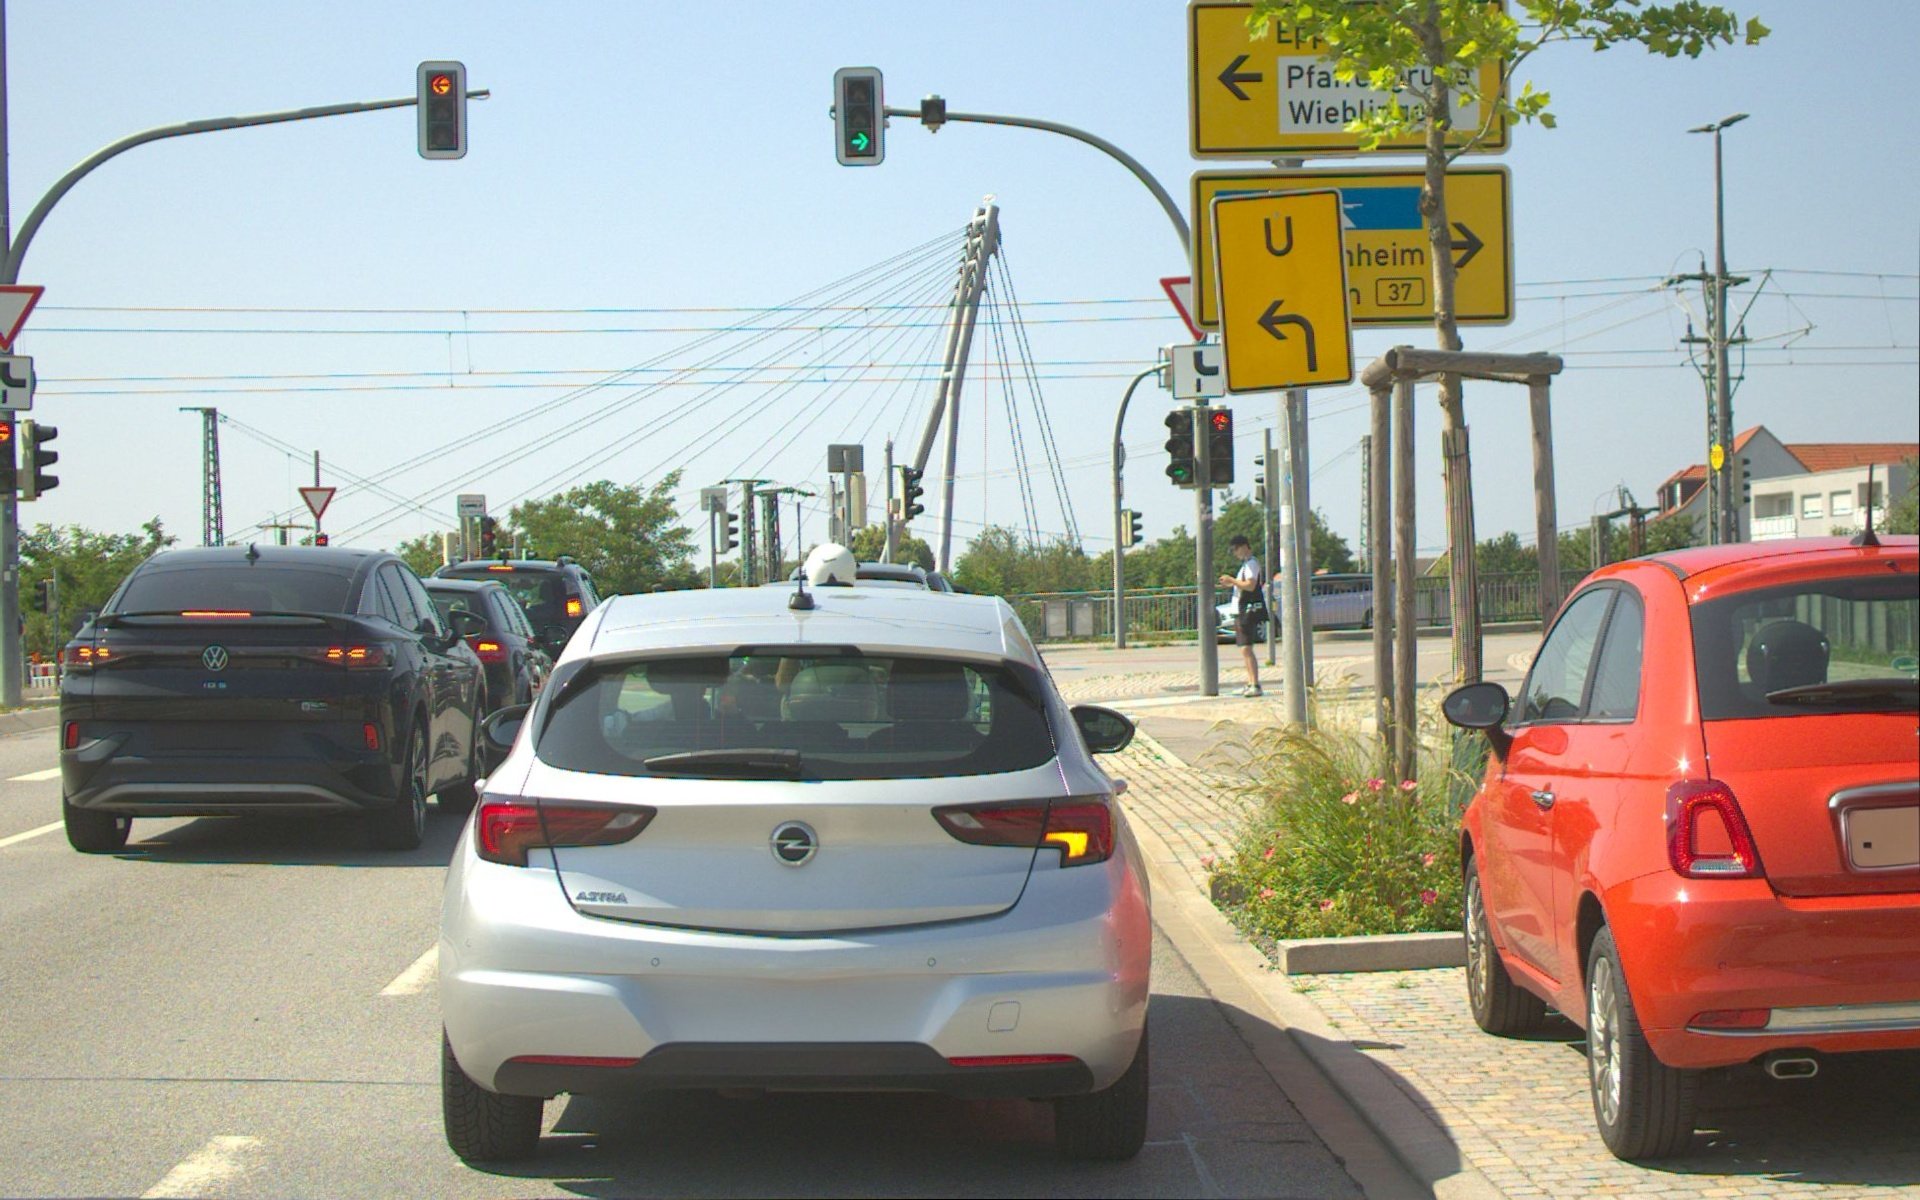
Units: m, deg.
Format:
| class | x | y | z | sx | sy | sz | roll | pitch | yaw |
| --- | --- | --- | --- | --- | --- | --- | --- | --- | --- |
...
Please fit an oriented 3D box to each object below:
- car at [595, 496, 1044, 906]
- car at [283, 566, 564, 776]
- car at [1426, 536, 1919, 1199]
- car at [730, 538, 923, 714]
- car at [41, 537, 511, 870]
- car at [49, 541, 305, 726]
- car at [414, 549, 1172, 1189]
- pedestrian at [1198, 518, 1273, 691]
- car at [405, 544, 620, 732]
| class | x | y | z | sx | sy | sz | roll | pitch | yaw |
| --- | --- | --- | --- | --- | --- | --- | --- | --- | --- |
| car | -0.655 | 0.411 | 17.610 | 1.993 | 1.814 | 4.402 | 1 | 1 | -1 |
| car | -3.917 | 0.485 | 25.611 | 1.575 | 1.429 | 3.786 | 1 | 0 | -1 |
| car | 2.347 | 0.594 | 9.617 | 1.610 | 1.491 | 3.352 | -2 | 1 | 1 |
| car | -1.237 | 0.201 | 33.272 | 1.724 | 1.558 | 4.000 | 1 | 1 | 0 |
| car | -3.697 | 0.512 | 19.331 | 1.801 | 1.636 | 4.366 | 1 | 0 | -1 |
| car | -6.965 | 0.278 | 30.901 | 1.597 | 1.542 | 3.763 | 1 | 0 | -3 |
| car | -0.490 | 0.624 | 9.989 | 1.742 | 1.473 | 4.000 | 1 | 0 | -3 |
| pedestrian | 2.976 | 0.044 | 37.172 | 0.647 | 1.830 | 0.798 | -2 | 0 | -2 |
| car | -4.074 | 0.324 | 31.749 | 1.649 | 1.610 | 3.820 | 1 | 0 | -3 |
